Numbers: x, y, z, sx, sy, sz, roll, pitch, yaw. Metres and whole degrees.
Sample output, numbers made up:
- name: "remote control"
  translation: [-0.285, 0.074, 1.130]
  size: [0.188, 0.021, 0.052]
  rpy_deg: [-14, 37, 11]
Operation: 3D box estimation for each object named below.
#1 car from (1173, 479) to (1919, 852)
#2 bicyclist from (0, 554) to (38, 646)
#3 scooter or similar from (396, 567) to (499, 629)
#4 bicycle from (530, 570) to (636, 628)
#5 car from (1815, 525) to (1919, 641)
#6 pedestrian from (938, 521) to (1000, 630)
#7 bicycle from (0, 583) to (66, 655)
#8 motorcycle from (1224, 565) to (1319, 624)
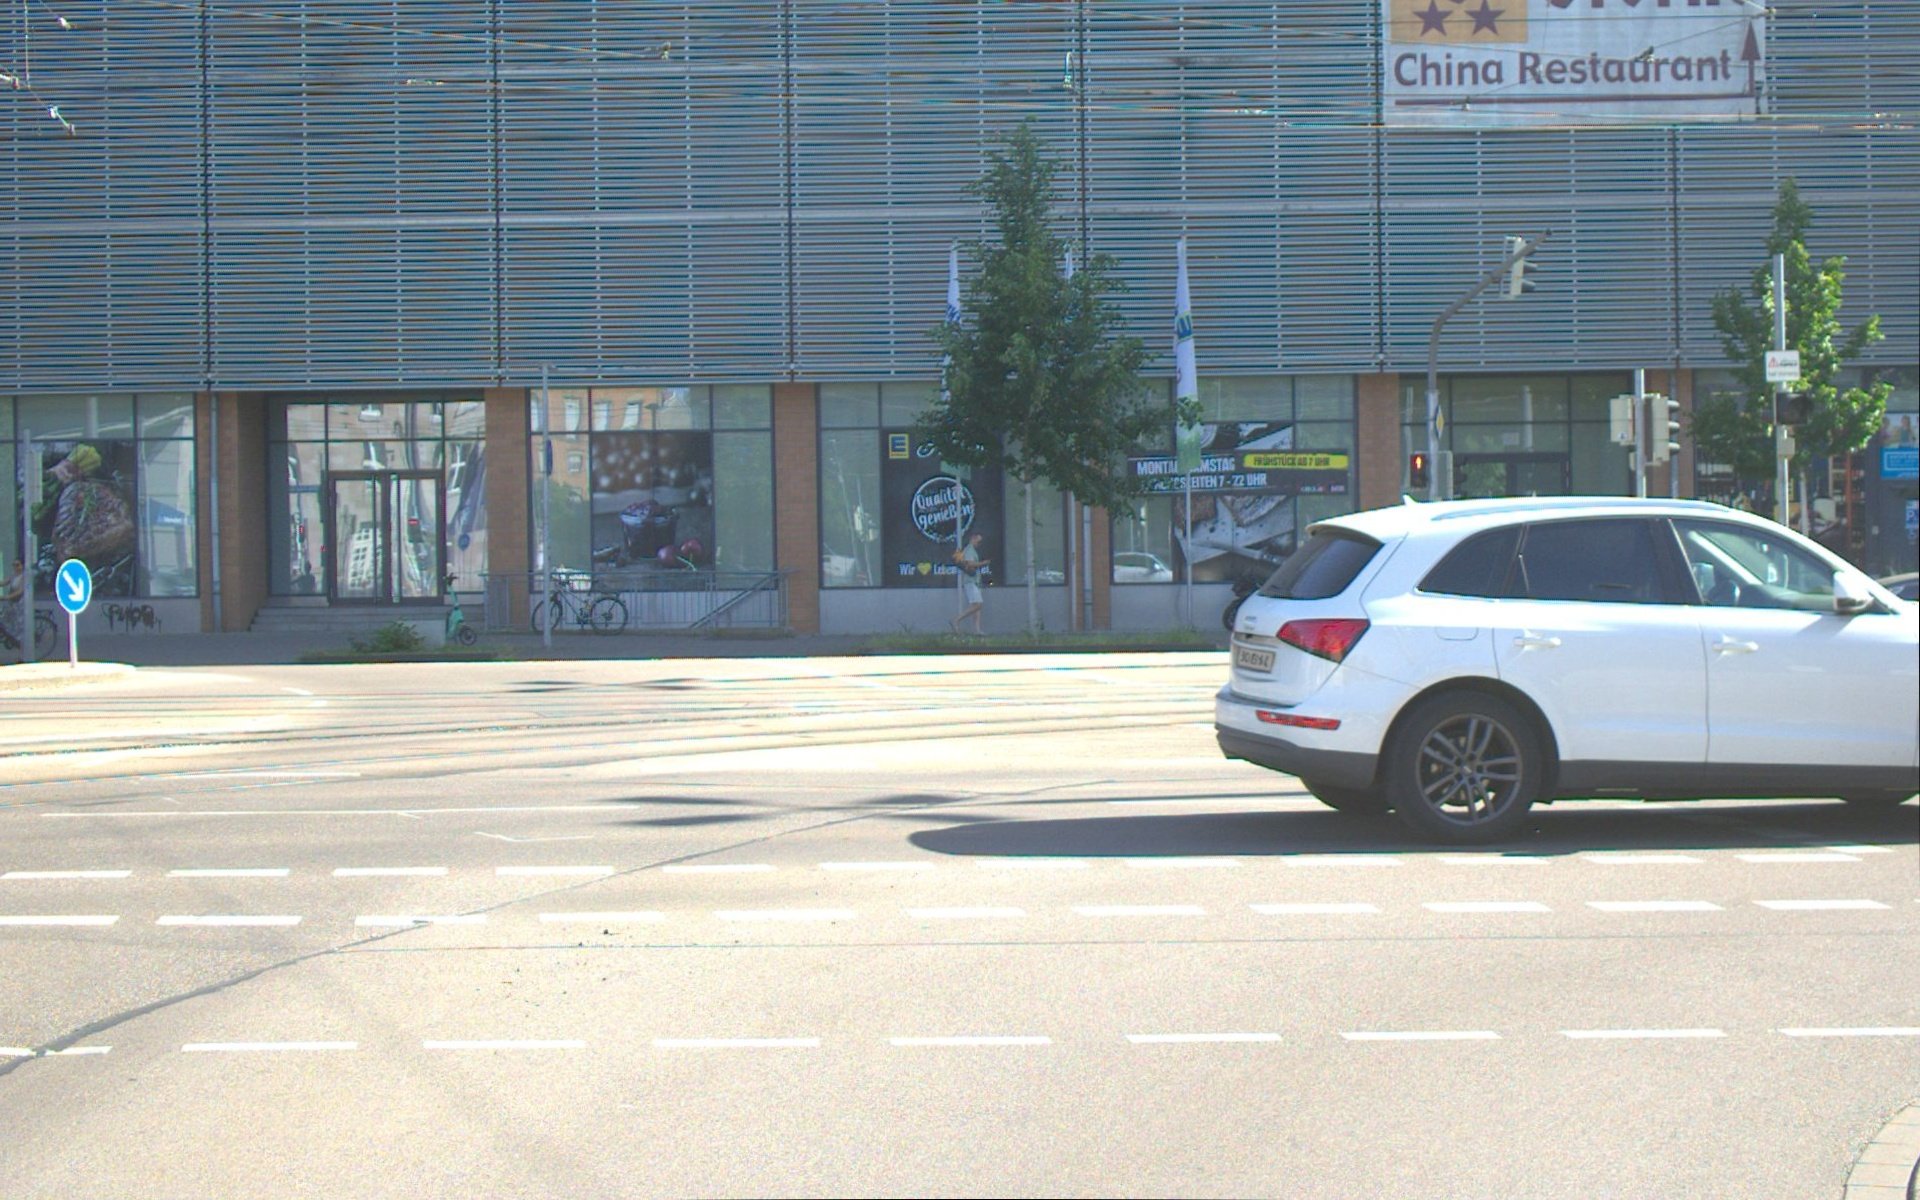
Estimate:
- name: "car"
  translation: [3.558, 0.268, 17.124]
  size: [4.667, 1.701, 1.938]
  rpy_deg: [-1, 1, -9]
- name: "bicyclist"
  translation: [-15.277, 0.002, 54.791]
  size: [0.675, 1.422, 0.847]
  rpy_deg: [1, 3, 43]
- name: "scooter or similar"
  translation: [-9.076, -0.045, 60.935]
  size: [1.792, 1.062, 0.613]
  rpy_deg: [0, 2, -8]
- name: "bicycle"
  translation: [-6.647, -0.015, 60.552]
  size: [1.815, 0.986, 0.558]
  rpy_deg: [-1, 2, -10]
- name: "car"
  translation: [13.756, -0.140, 45.855]
  size: [4.146, 1.464, 1.841]
  rpy_deg: [3, 0, -1]
- name: "pedestrian"
  translation: [0.156, -0.415, 59.774]
  size: [0.950, 1.822, 0.845]
  rpy_deg: [-2, -3, 5]
- name: "bicycle"
  translation: [-15.244, 0.311, 54.871]
  size: [0.568, 1.082, 1.859]
  rpy_deg: [1, 3, 43]
- name: "motorcycle"
  translation: [5.496, -0.099, 60.644]
  size: [1.640, 1.001, 0.446]
  rpy_deg: [1, 1, 6]
